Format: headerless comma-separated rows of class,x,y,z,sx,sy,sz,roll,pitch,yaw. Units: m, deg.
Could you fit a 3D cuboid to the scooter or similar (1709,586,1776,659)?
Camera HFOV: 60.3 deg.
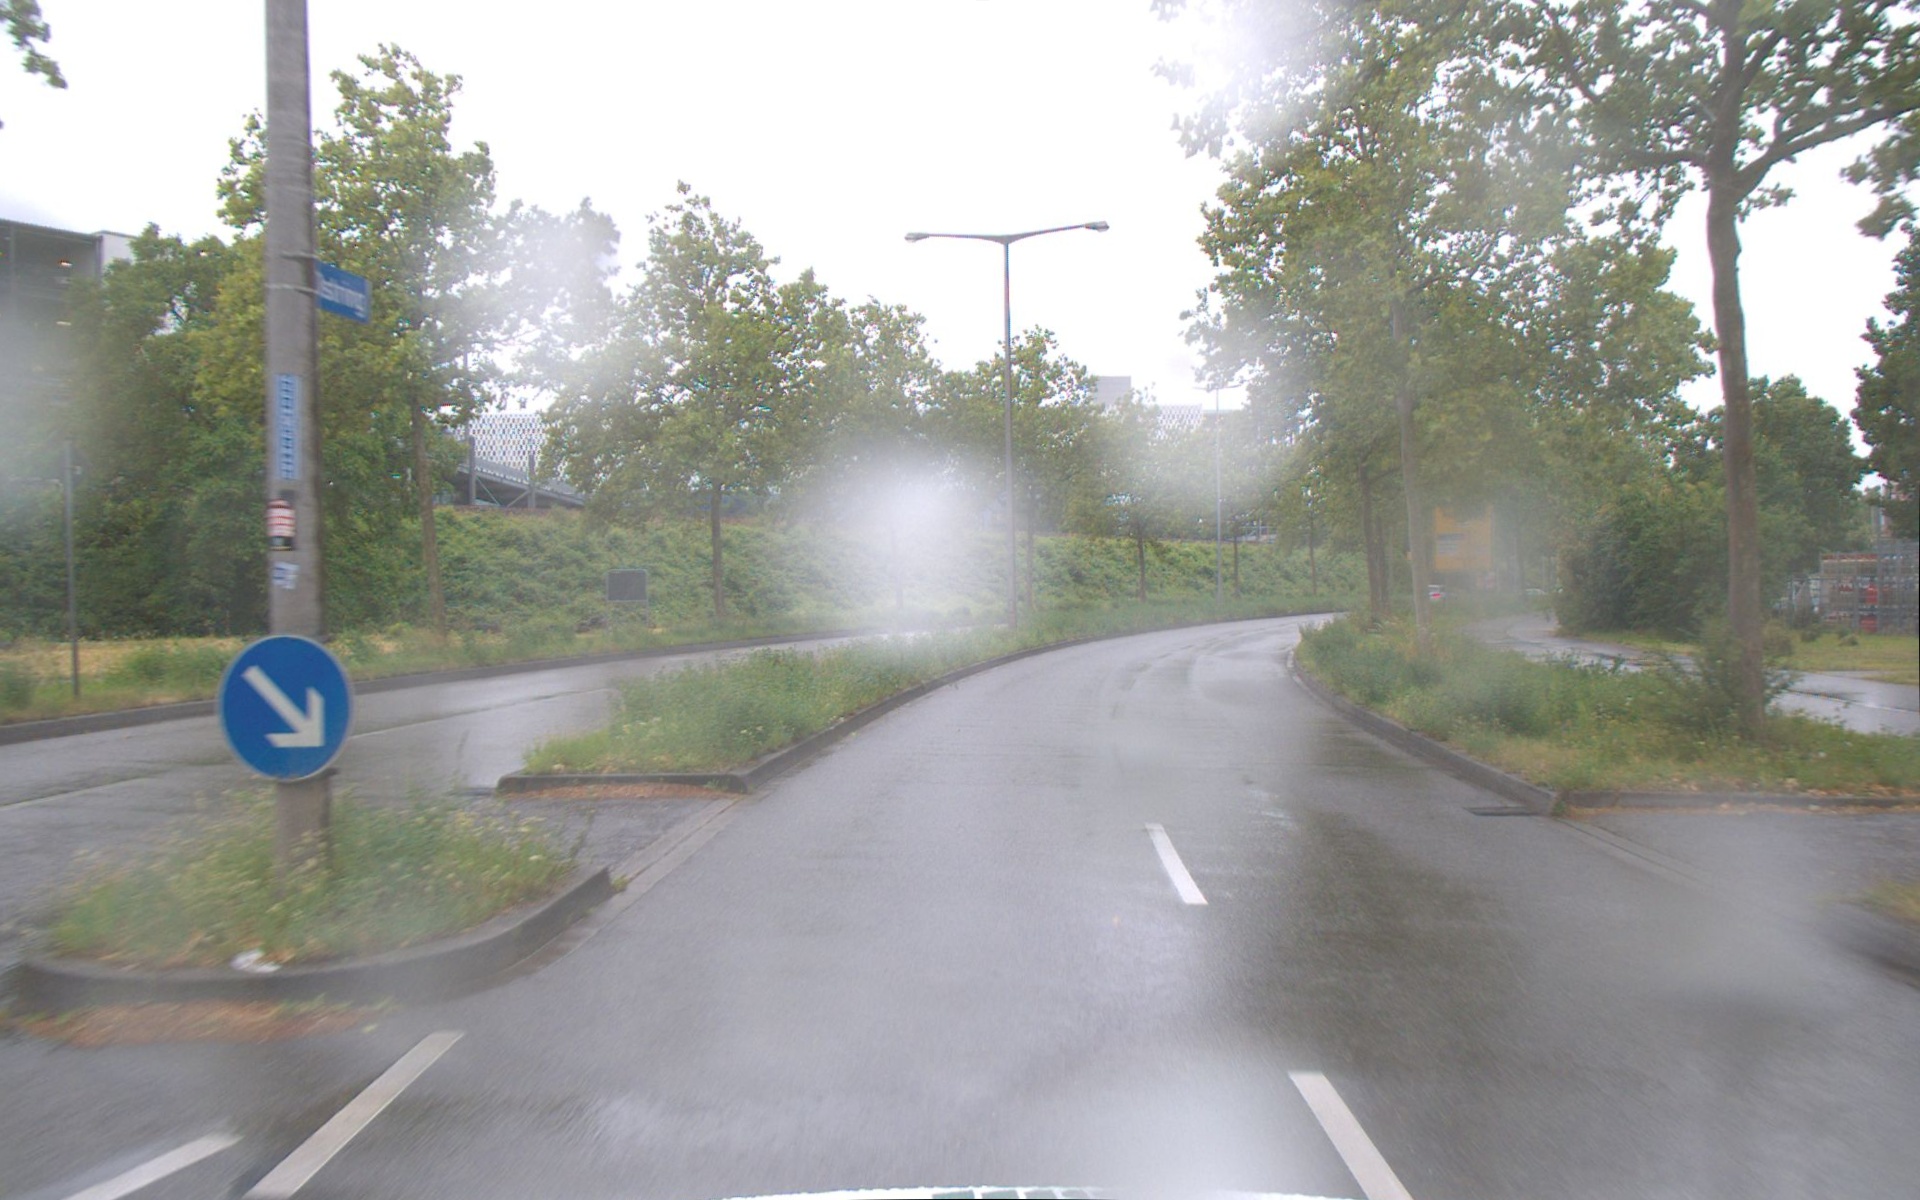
scooter or similar,13.436,0.375,28.434,0.538,1.219,1.110,-1,0,-6

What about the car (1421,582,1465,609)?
car,29.610,-0.284,101.411,1.746,1.583,3.994,1,1,29
